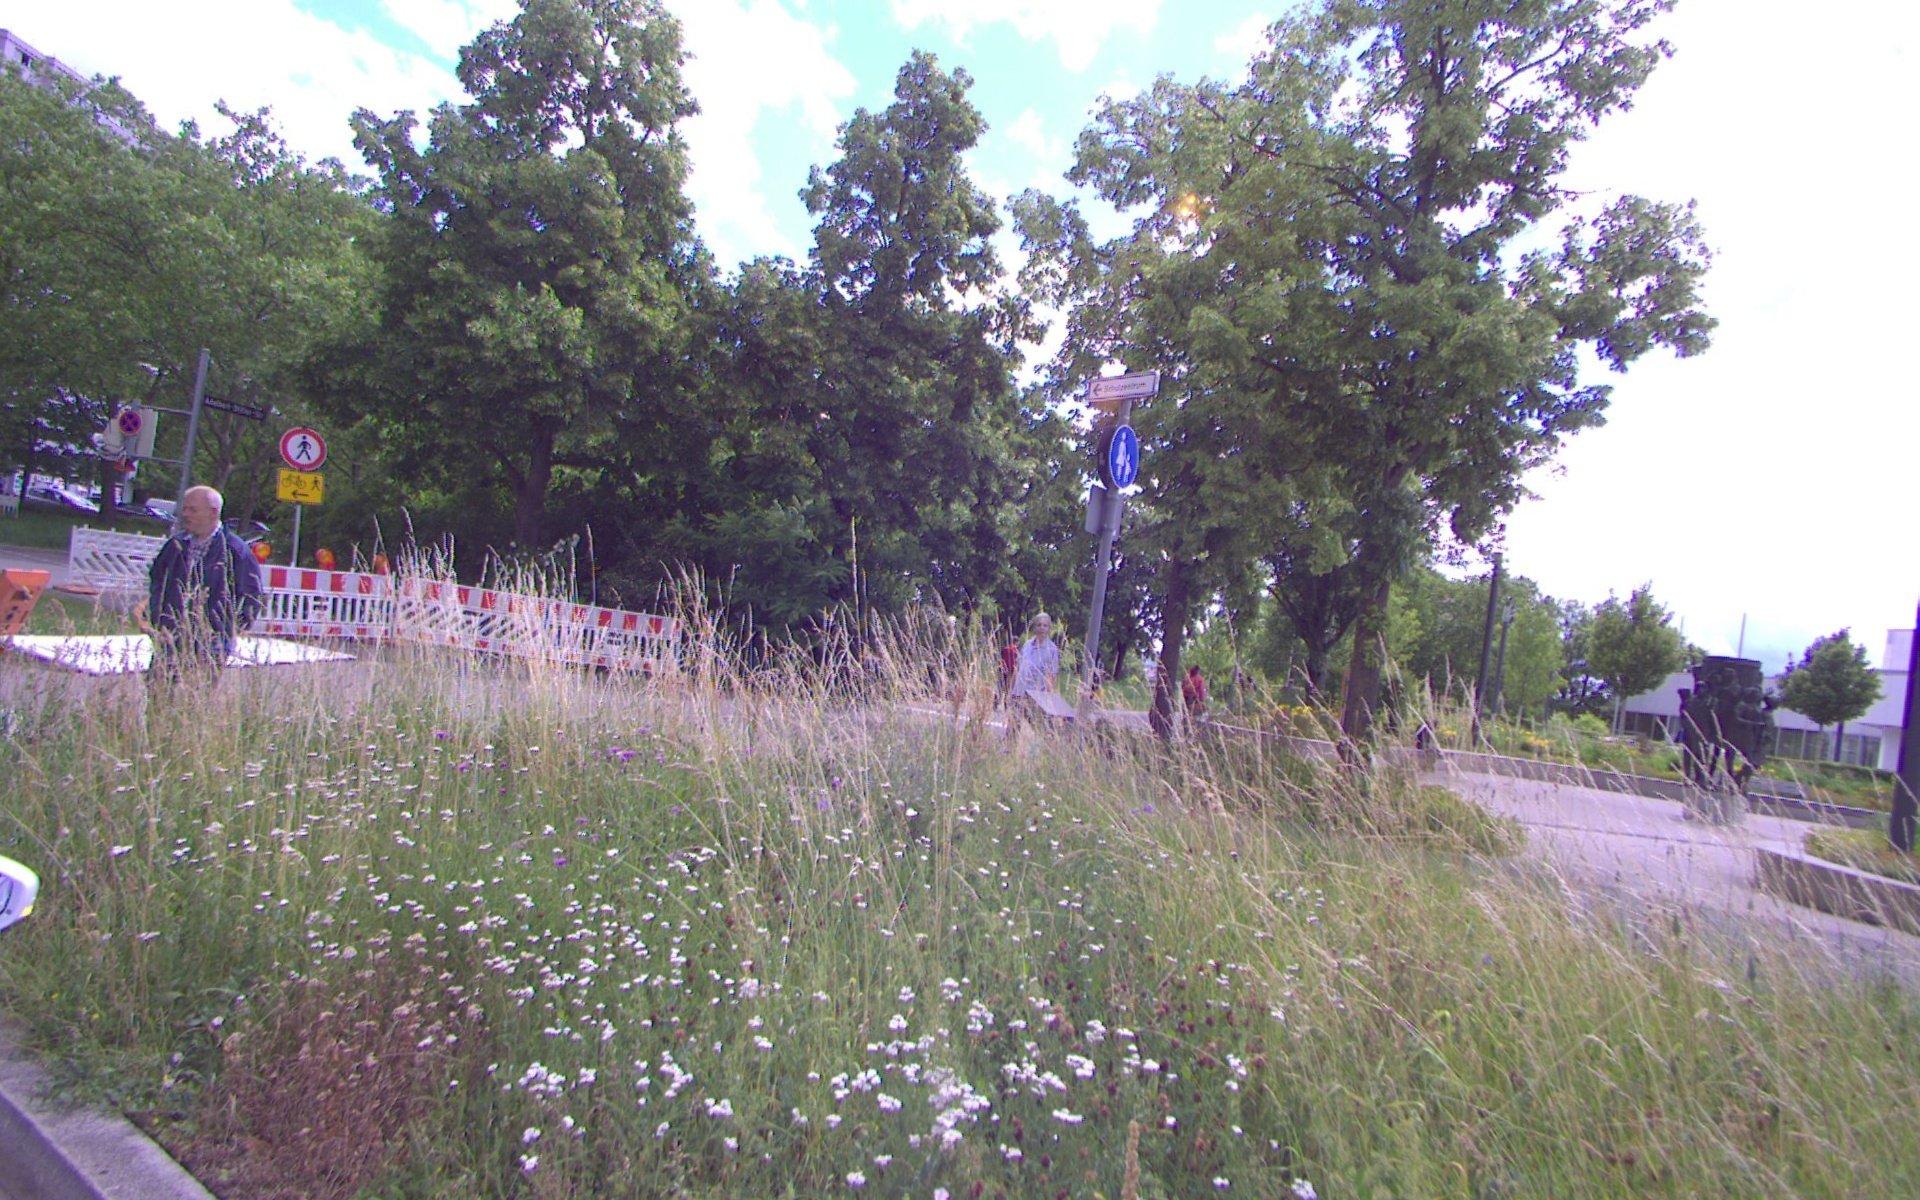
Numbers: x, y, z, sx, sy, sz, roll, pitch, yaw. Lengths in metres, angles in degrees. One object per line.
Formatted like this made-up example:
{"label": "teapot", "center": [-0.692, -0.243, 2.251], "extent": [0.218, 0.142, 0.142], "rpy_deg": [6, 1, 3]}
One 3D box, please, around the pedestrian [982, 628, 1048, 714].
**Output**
{"label": "pedestrian", "center": [1.174, 1.507, 21.423], "extent": [0.974, 1.671, 0.871], "rpy_deg": [7, 0, 21]}

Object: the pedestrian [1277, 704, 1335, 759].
{"label": "pedestrian", "center": [7.145, 2.707, 20.785], "extent": [0.703, 0.959, 0.747], "rpy_deg": [8, -1, -21]}

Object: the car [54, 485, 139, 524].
{"label": "car", "center": [-54.459, -5.994, 63.458], "extent": [3.751, 1.653, 1.674], "rpy_deg": [9, -1, 1]}

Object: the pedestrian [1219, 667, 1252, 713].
{"label": "pedestrian", "center": [10.910, 3.562, 39.846], "extent": [0.974, 1.671, 0.871], "rpy_deg": [7, 0, 21]}

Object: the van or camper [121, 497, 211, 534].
{"label": "van or camper", "center": [-44.555, -4.735, 56.489], "extent": [3.706, 1.372, 1.519], "rpy_deg": [8, -2, -1]}

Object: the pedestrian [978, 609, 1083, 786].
{"label": "pedestrian", "center": [0.768, 1.058, 11.107], "extent": [0.685, 1.812, 0.725], "rpy_deg": [8, 0, -23]}

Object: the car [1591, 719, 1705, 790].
{"label": "car", "center": [22.783, 5.073, 33.469], "extent": [1.606, 1.786, 3.509], "rpy_deg": [7, -2, 9]}

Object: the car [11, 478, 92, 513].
{"label": "car", "center": [-54.441, -6.252, 60.325], "extent": [3.345, 1.420, 1.486], "rpy_deg": [7, -2, 1]}

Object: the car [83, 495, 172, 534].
{"label": "car", "center": [-43.771, -4.496, 52.937], "extent": [3.345, 1.420, 1.486], "rpy_deg": [7, -2, 2]}

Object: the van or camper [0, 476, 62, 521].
{"label": "van or camper", "center": [-44.307, -4.849, 46.496], "extent": [3.925, 1.704, 1.847], "rpy_deg": [8, -1, 4]}

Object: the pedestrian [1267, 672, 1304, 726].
{"label": "pedestrian", "center": [11.168, 3.384, 34.470], "extent": [0.974, 1.671, 0.871], "rpy_deg": [7, 0, 21]}

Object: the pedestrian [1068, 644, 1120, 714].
{"label": "pedestrian", "center": [3.520, 2.062, 26.405], "extent": [0.974, 1.671, 0.871], "rpy_deg": [7, 0, 21]}

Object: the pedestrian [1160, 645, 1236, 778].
{"label": "pedestrian", "center": [3.307, 1.529, 13.976], "extent": [0.685, 1.715, 0.651], "rpy_deg": [7, 0, 28]}

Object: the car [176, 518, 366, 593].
{"label": "car", "center": [-21.155, -1.315, 31.073], "extent": [1.744, 1.604, 4.405], "rpy_deg": [6, -2, 33]}

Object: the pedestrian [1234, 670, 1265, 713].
{"label": "pedestrian", "center": [12.227, 3.841, 42.493], "extent": [0.974, 1.671, 0.871], "rpy_deg": [7, 0, 21]}

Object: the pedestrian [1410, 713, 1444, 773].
{"label": "pedestrian", "center": [10.762, 3.284, 23.180], "extent": [0.560, 1.277, 0.582], "rpy_deg": [7, -1, 29]}

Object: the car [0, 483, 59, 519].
{"label": "car", "center": [-49.943, -5.311, 52.947], "extent": [1.456, 1.462, 3.413], "rpy_deg": [7, -2, 14]}

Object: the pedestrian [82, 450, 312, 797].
{"label": "pedestrian", "center": [-4.280, 0.134, 5.731], "extent": [0.720, 1.761, 0.949], "rpy_deg": [8, -1, -29]}

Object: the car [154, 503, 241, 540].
{"label": "car", "center": [-44.635, -4.600, 58.895], "extent": [3.820, 1.482, 1.486], "rpy_deg": [7, -1, 1]}

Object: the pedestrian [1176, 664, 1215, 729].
{"label": "pedestrian", "center": [5.965, 2.440, 25.460], "extent": [0.624, 1.519, 0.704], "rpy_deg": [7, 0, 29]}

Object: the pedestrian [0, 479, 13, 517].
{"label": "pedestrian", "center": [-53.847, -5.736, 56.315], "extent": [0.838, 2.025, 0.806], "rpy_deg": [7, -1, 28]}

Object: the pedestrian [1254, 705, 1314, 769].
{"label": "pedestrian", "center": [5.078, 2.135, 15.761], "extent": [0.685, 0.874, 0.651], "rpy_deg": [7, 0, 28]}
